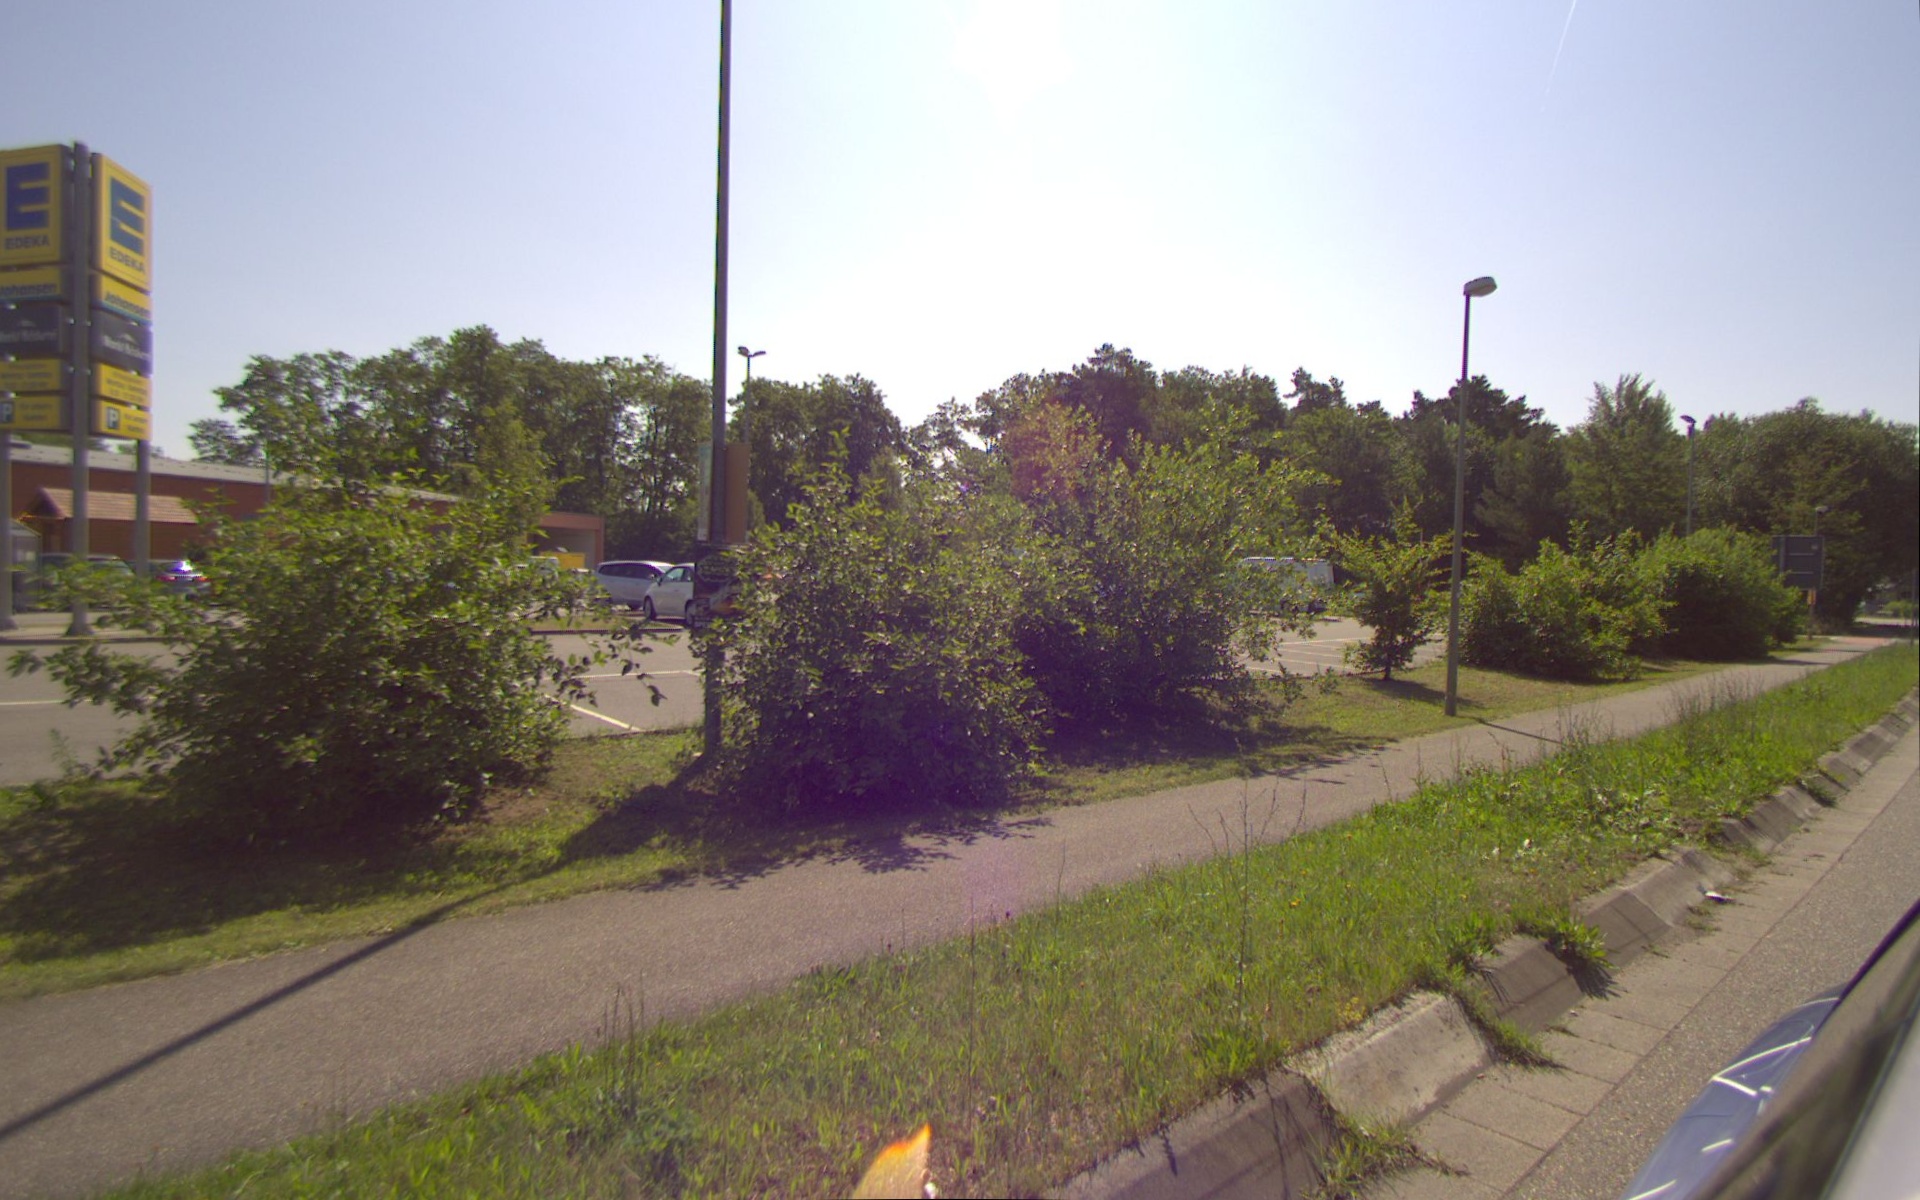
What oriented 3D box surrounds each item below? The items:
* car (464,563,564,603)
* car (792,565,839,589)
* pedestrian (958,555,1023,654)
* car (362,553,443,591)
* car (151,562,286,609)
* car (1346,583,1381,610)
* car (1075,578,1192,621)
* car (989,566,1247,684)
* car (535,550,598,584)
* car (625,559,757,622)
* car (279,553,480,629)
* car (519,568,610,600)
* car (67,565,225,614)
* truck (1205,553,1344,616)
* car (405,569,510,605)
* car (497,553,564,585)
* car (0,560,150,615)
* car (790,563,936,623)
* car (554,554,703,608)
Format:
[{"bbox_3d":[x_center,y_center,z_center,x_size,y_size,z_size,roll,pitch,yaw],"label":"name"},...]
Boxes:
[{"bbox_3d":[-20.025,-0.756,45.431,3.959,1.683,1.983,2,1,26],"label":"car"},{"bbox_3d":[-11.102,-1.767,77.964,1.919,1.732,3.974,2,2,20],"label":"car"},{"bbox_3d":[0.579,0.067,19.229,0.851,1.820,0.820,1,1,-42],"label":"pedestrian"},{"bbox_3d":[-31.790,-1.620,57.713,3.951,2.038,1.987,2,1,21],"label":"car"},{"bbox_3d":[-24.699,-0.495,33.744,3.949,1.415,1.705,2,1,19],"label":"car"},{"bbox_3d":[25.759,-0.251,64.663,1.737,1.549,4.348,2,2,18],"label":"car"},{"bbox_3d":[6.570,-0.043,38.423,3.952,1.471,1.879,3,1,37],"label":"car"},{"bbox_3d":[2.565,0.329,17.187,1.723,1.647,4.125,1,2,-43],"label":"car"},{"bbox_3d":[-28.236,-2.354,72.621,3.979,2.275,1.984,2,0,23],"label":"car"},{"bbox_3d":[-6.866,-0.277,25.578,1.622,1.460,3.994,1,1,-41],"label":"car"},{"bbox_3d":[-13.418,-0.227,23.455,3.938,1.608,1.656,2,1,12],"label":"car"},{"bbox_3d":[-19.162,-0.778,49.057,3.957,1.415,1.875,2,1,24],"label":"car"},{"bbox_3d":[-25.191,-0.328,31.367,3.947,1.393,1.989,1,1,18],"label":"car"},{"bbox_3d":[14.127,-0.755,45.723,2.167,2.637,5.604,0,2,-44],"label":"truck"},{"bbox_3d":[-21.323,-0.577,42.933,3.959,1.371,1.983,2,1,25],"label":"car"},{"bbox_3d":[-29.134,-2.095,68.711,3.955,2.039,1.984,2,1,23],"label":"car"},{"bbox_3d":[-25.343,-0.374,28.693,3.950,1.438,1.970,2,0,20],"label":"car"},{"bbox_3d":[-2.847,-0.237,29.149,4.153,1.593,1.968,2,1,44],"label":"car"},{"bbox_3d":[-11.138,-0.606,34.041,4.502,1.723,1.987,0,0,20],"label":"car"}]
